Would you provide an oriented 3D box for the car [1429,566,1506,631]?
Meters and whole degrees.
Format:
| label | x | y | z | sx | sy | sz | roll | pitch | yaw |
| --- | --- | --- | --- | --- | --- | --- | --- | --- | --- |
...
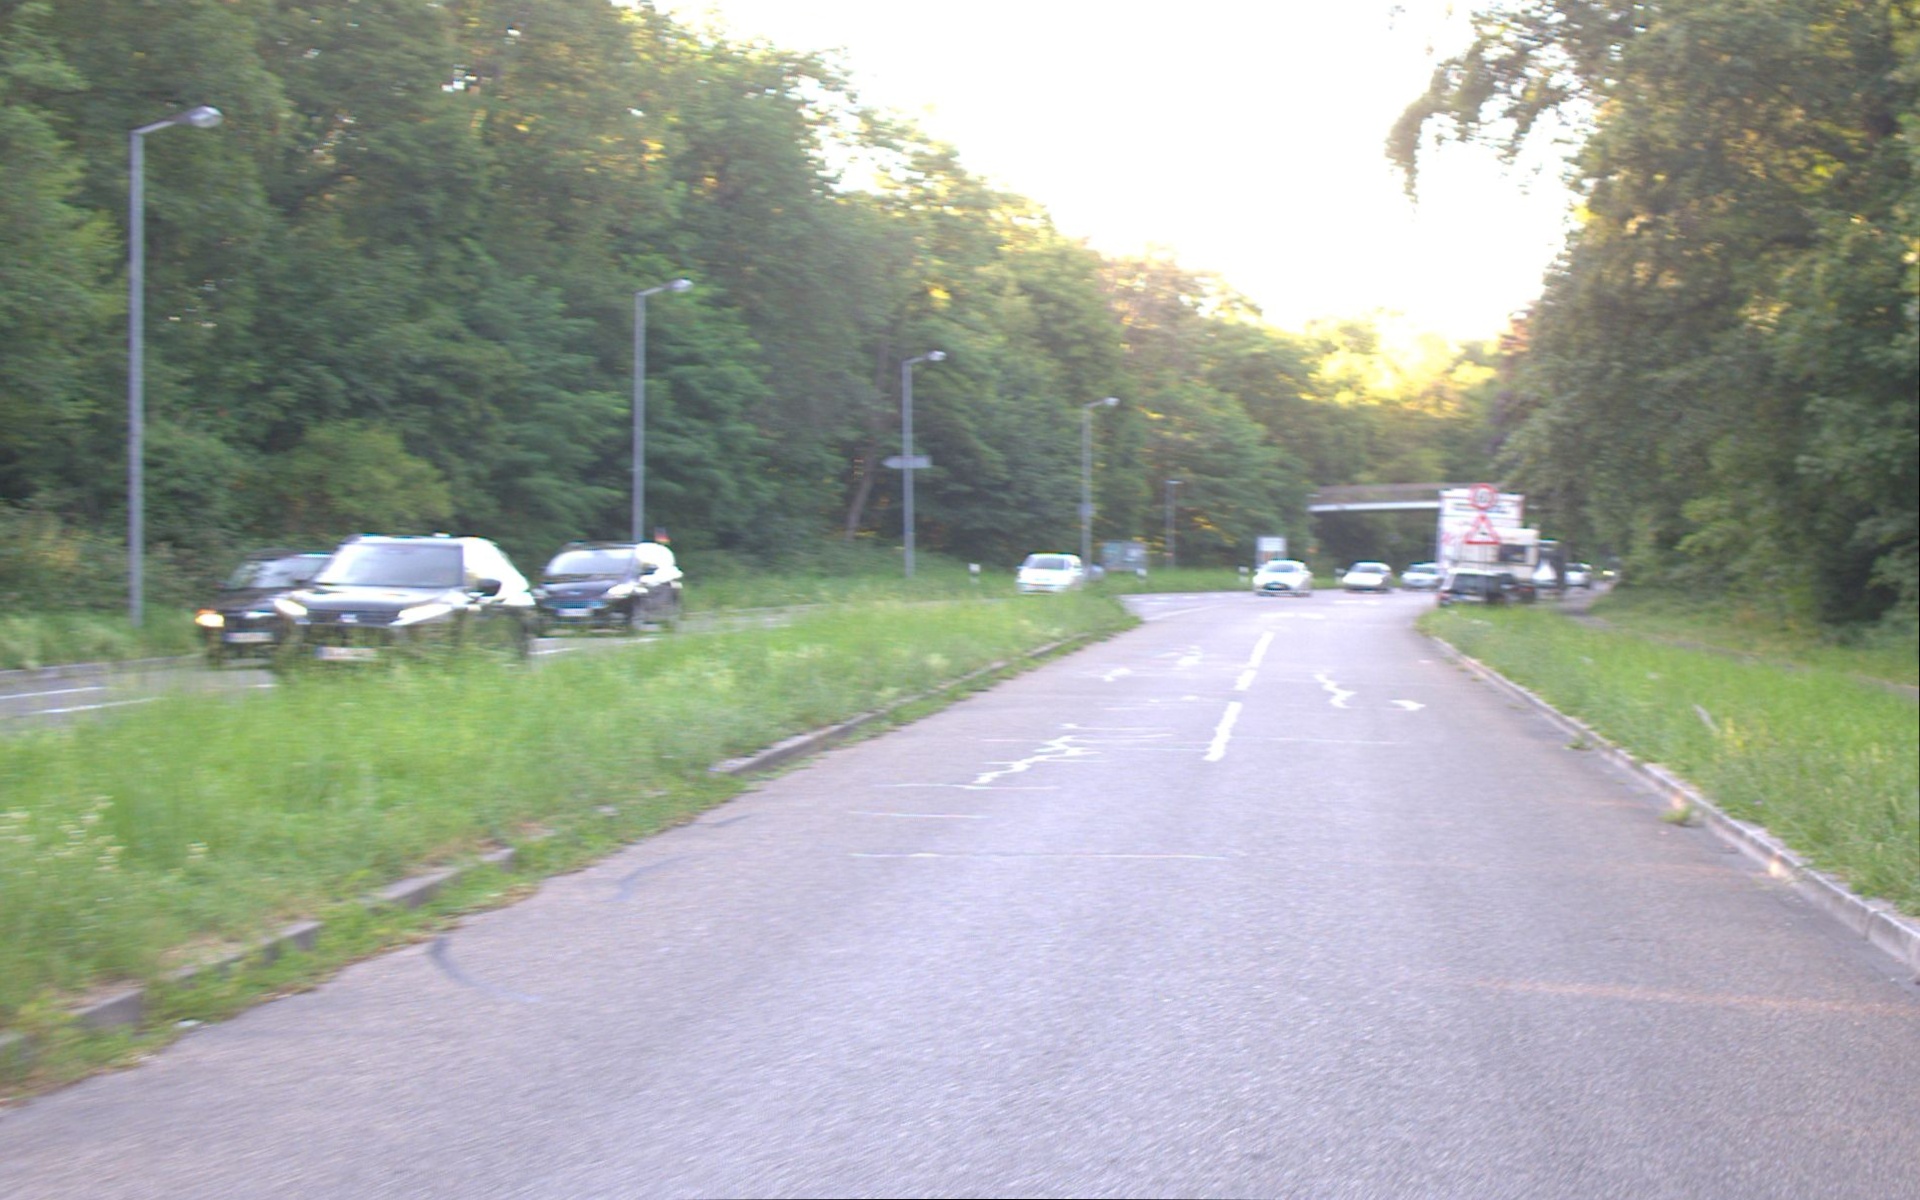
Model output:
| label | x | y | z | sx | sy | sz | roll | pitch | yaw |
| --- | --- | --- | --- | --- | --- | --- | --- | --- | --- |
| car | 12.014 | -0.043 | 81.353 | 1.664 | 1.400 | 3.941 | 4 | 1 | 8 |

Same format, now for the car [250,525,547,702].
| label | x | y | z | sx | sy | sz | roll | pitch | yaw |
| --- | --- | --- | --- | --- | --- | --- | --- | --- | --- |
| car | -5.494 | 0.099 | 34.179 | 1.814 | 1.622 | 4.450 | -1 | 1 | 6 |

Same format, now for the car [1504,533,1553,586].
| label | x | y | z | sx | sy | sz | roll | pitch | yaw |
| --- | --- | --- | --- | --- | --- | --- | --- | --- | --- |
| car | 27.203 | -1.922 | 164.483 | 1.995 | 2.401 | 5.820 | 0 | -1 | 13 |

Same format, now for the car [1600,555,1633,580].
| label | x | y | z | sx | sy | sz | roll | pitch | yaw |
| --- | --- | --- | --- | --- | --- | --- | --- | --- | --- |
| car | 39.874 | -1.969 | 208.745 | 1.893 | 1.442 | 4.107 | 1 | 1 | 12 |

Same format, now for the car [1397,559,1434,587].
| label | x | y | z | sx | sy | sz | roll | pitch | yaw |
| --- | --- | --- | --- | --- | --- | --- | --- | --- | --- |
| car | 24.120 | -1.427 | 182.105 | 1.720 | 1.392 | 4.373 | 1 | 1 | 10 |

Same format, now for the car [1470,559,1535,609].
| label | x | y | z | sx | sy | sz | roll | pitch | yaw |
| --- | --- | --- | --- | --- | --- | --- | --- | --- | --- |
| car | 15.915 | -0.474 | 100.964 | 1.699 | 1.401 | 4.075 | 1 | 1 | 7 |

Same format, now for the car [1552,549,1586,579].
| label | x | y | z | sx | sy | sz | roll | pitch | yaw |
| --- | --- | --- | --- | --- | --- | --- | --- | --- | --- |
| car | 38.286 | -2.259 | 216.063 | 1.994 | 1.831 | 3.998 | 1 | 1 | 12 |

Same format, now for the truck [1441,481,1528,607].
| label | x | y | z | sx | sy | sz | roll | pitch | yaw |
| --- | --- | --- | --- | --- | --- | --- | --- | --- | --- |
| truck | 17.698 | -1.866 | 115.679 | 2.659 | 4.014 | 9.718 | 2 | 1 | 9 |

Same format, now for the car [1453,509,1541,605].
| label | x | y | z | sx | sy | sz | roll | pitch | yaw |
| --- | --- | --- | --- | --- | --- | --- | --- | --- | --- |
| car | 16.743 | -1.322 | 107.471 | 2.409 | 2.848 | 5.931 | 2 | 1 | 7 |

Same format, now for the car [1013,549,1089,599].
| label | x | y | z | sx | sy | sz | roll | pitch | yaw |
| --- | --- | --- | --- | --- | --- | --- | --- | --- | --- |
| car | 2.873 | -0.799 | 108.115 | 1.994 | 1.453 | 3.809 | 0 | -1 | 8 |

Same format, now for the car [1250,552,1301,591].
| label | x | y | z | sx | sy | sz | roll | pitch | yaw |
| --- | --- | --- | --- | --- | --- | --- | --- | --- | --- |
| car | 13.004 | -1.158 | 141.490 | 1.836 | 1.502 | 3.936 | 0 | -1 | 9 |

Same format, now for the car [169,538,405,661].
| label | x | y | z | sx | sy | sz | roll | pitch | yaw |
| --- | --- | --- | --- | --- | --- | --- | --- | --- | --- |
| car | -8.586 | -0.030 | 44.191 | 1.823 | 1.475 | 4.232 | -1 | 1 | 6 |

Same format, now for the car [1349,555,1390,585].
| label | x | y | z | sx | sy | sz | roll | pitch | yaw |
| --- | --- | --- | --- | --- | --- | --- | --- | --- | --- |
| car | 19.901 | -1.475 | 167.049 | 1.717 | 1.441 | 4.171 | 1 | 1 | 10 |

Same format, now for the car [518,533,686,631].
| label | x | y | z | sx | sy | sz | roll | pitch | yaw |
| --- | --- | --- | --- | --- | --- | --- | --- | --- | --- |
| car | -6.184 | -0.333 | 59.903 | 1.994 | 1.622 | 4.650 | -1 | 1 | 6 |
